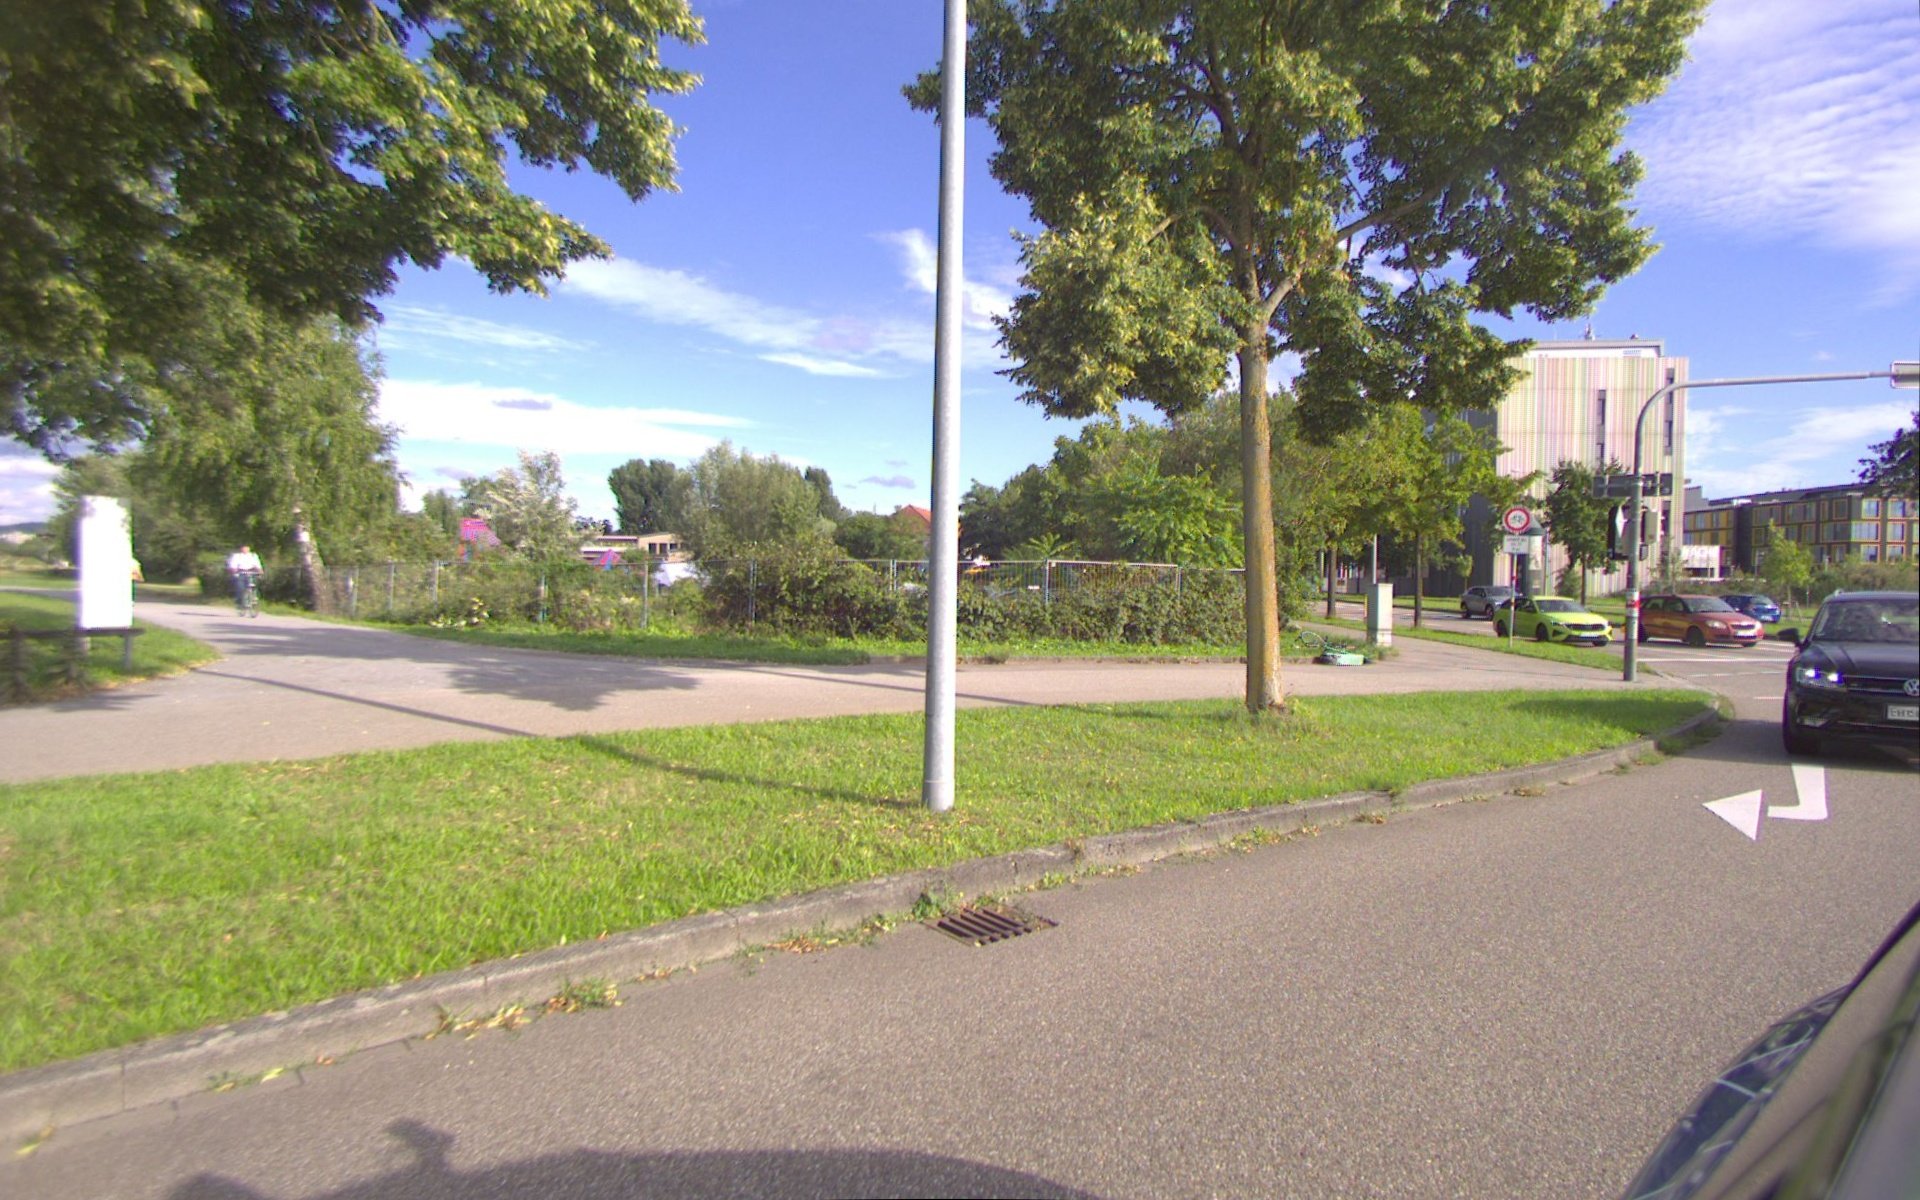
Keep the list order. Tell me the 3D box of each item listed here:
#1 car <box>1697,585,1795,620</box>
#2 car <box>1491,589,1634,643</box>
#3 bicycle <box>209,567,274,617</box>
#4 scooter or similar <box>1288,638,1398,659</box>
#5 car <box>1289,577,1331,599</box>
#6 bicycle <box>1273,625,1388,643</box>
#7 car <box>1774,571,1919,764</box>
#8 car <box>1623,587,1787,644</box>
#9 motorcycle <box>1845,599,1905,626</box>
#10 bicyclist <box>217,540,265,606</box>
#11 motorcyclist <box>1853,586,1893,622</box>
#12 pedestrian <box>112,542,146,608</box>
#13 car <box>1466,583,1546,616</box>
[{"bbox_3d":[37.595,0.089,48.542,1.752,1.520,3.989,3,1,5],"label":"car"},{"bbox_3d":[18.241,0.435,30.921,1.863,1.438,4.603,0,1,4],"label":"car"},{"bbox_3d":[-17.589,-0.216,24.752,2.592,1.140,0.791,2,2,43],"label":"bicycle"},{"bbox_3d":[7.408,0.934,19.646,1.521,0.284,1.296,0,2,-20],"label":"scooter or similar"},{"bbox_3d":[28.398,-0.978,82.172,1.964,1.682,4.799,1,1,4],"label":"car"},{"bbox_3d":[8.182,0.737,22.487,1.068,0.350,2.252,-1,-1,-29],"label":"bicycle"},{"bbox_3d":[10.174,0.560,10.572,4.930,1.676,1.869,-1,2,-43],"label":"car"},{"bbox_3d":[21.775,0.388,29.812,1.663,1.493,4.228,0,1,0],"label":"car"},{"bbox_3d":[36.600,0.488,40.520,0.771,0.998,2.019,1,1,8],"label":"motorcycle"},{"bbox_3d":[-17.578,-0.663,24.736,0.902,1.566,0.792,2,2,43],"label":"bicyclist"},{"bbox_3d":[36.588,0.147,40.559,0.771,1.383,0.941,1,1,8],"label":"motorcyclist"},{"bbox_3d":[-22.741,-0.685,27.684,0.595,1.754,0.657,2,2,44],"label":"pedestrian"},{"bbox_3d":[25.225,-0.047,46.890,1.665,1.493,4.222,0,1,4],"label":"car"}]
